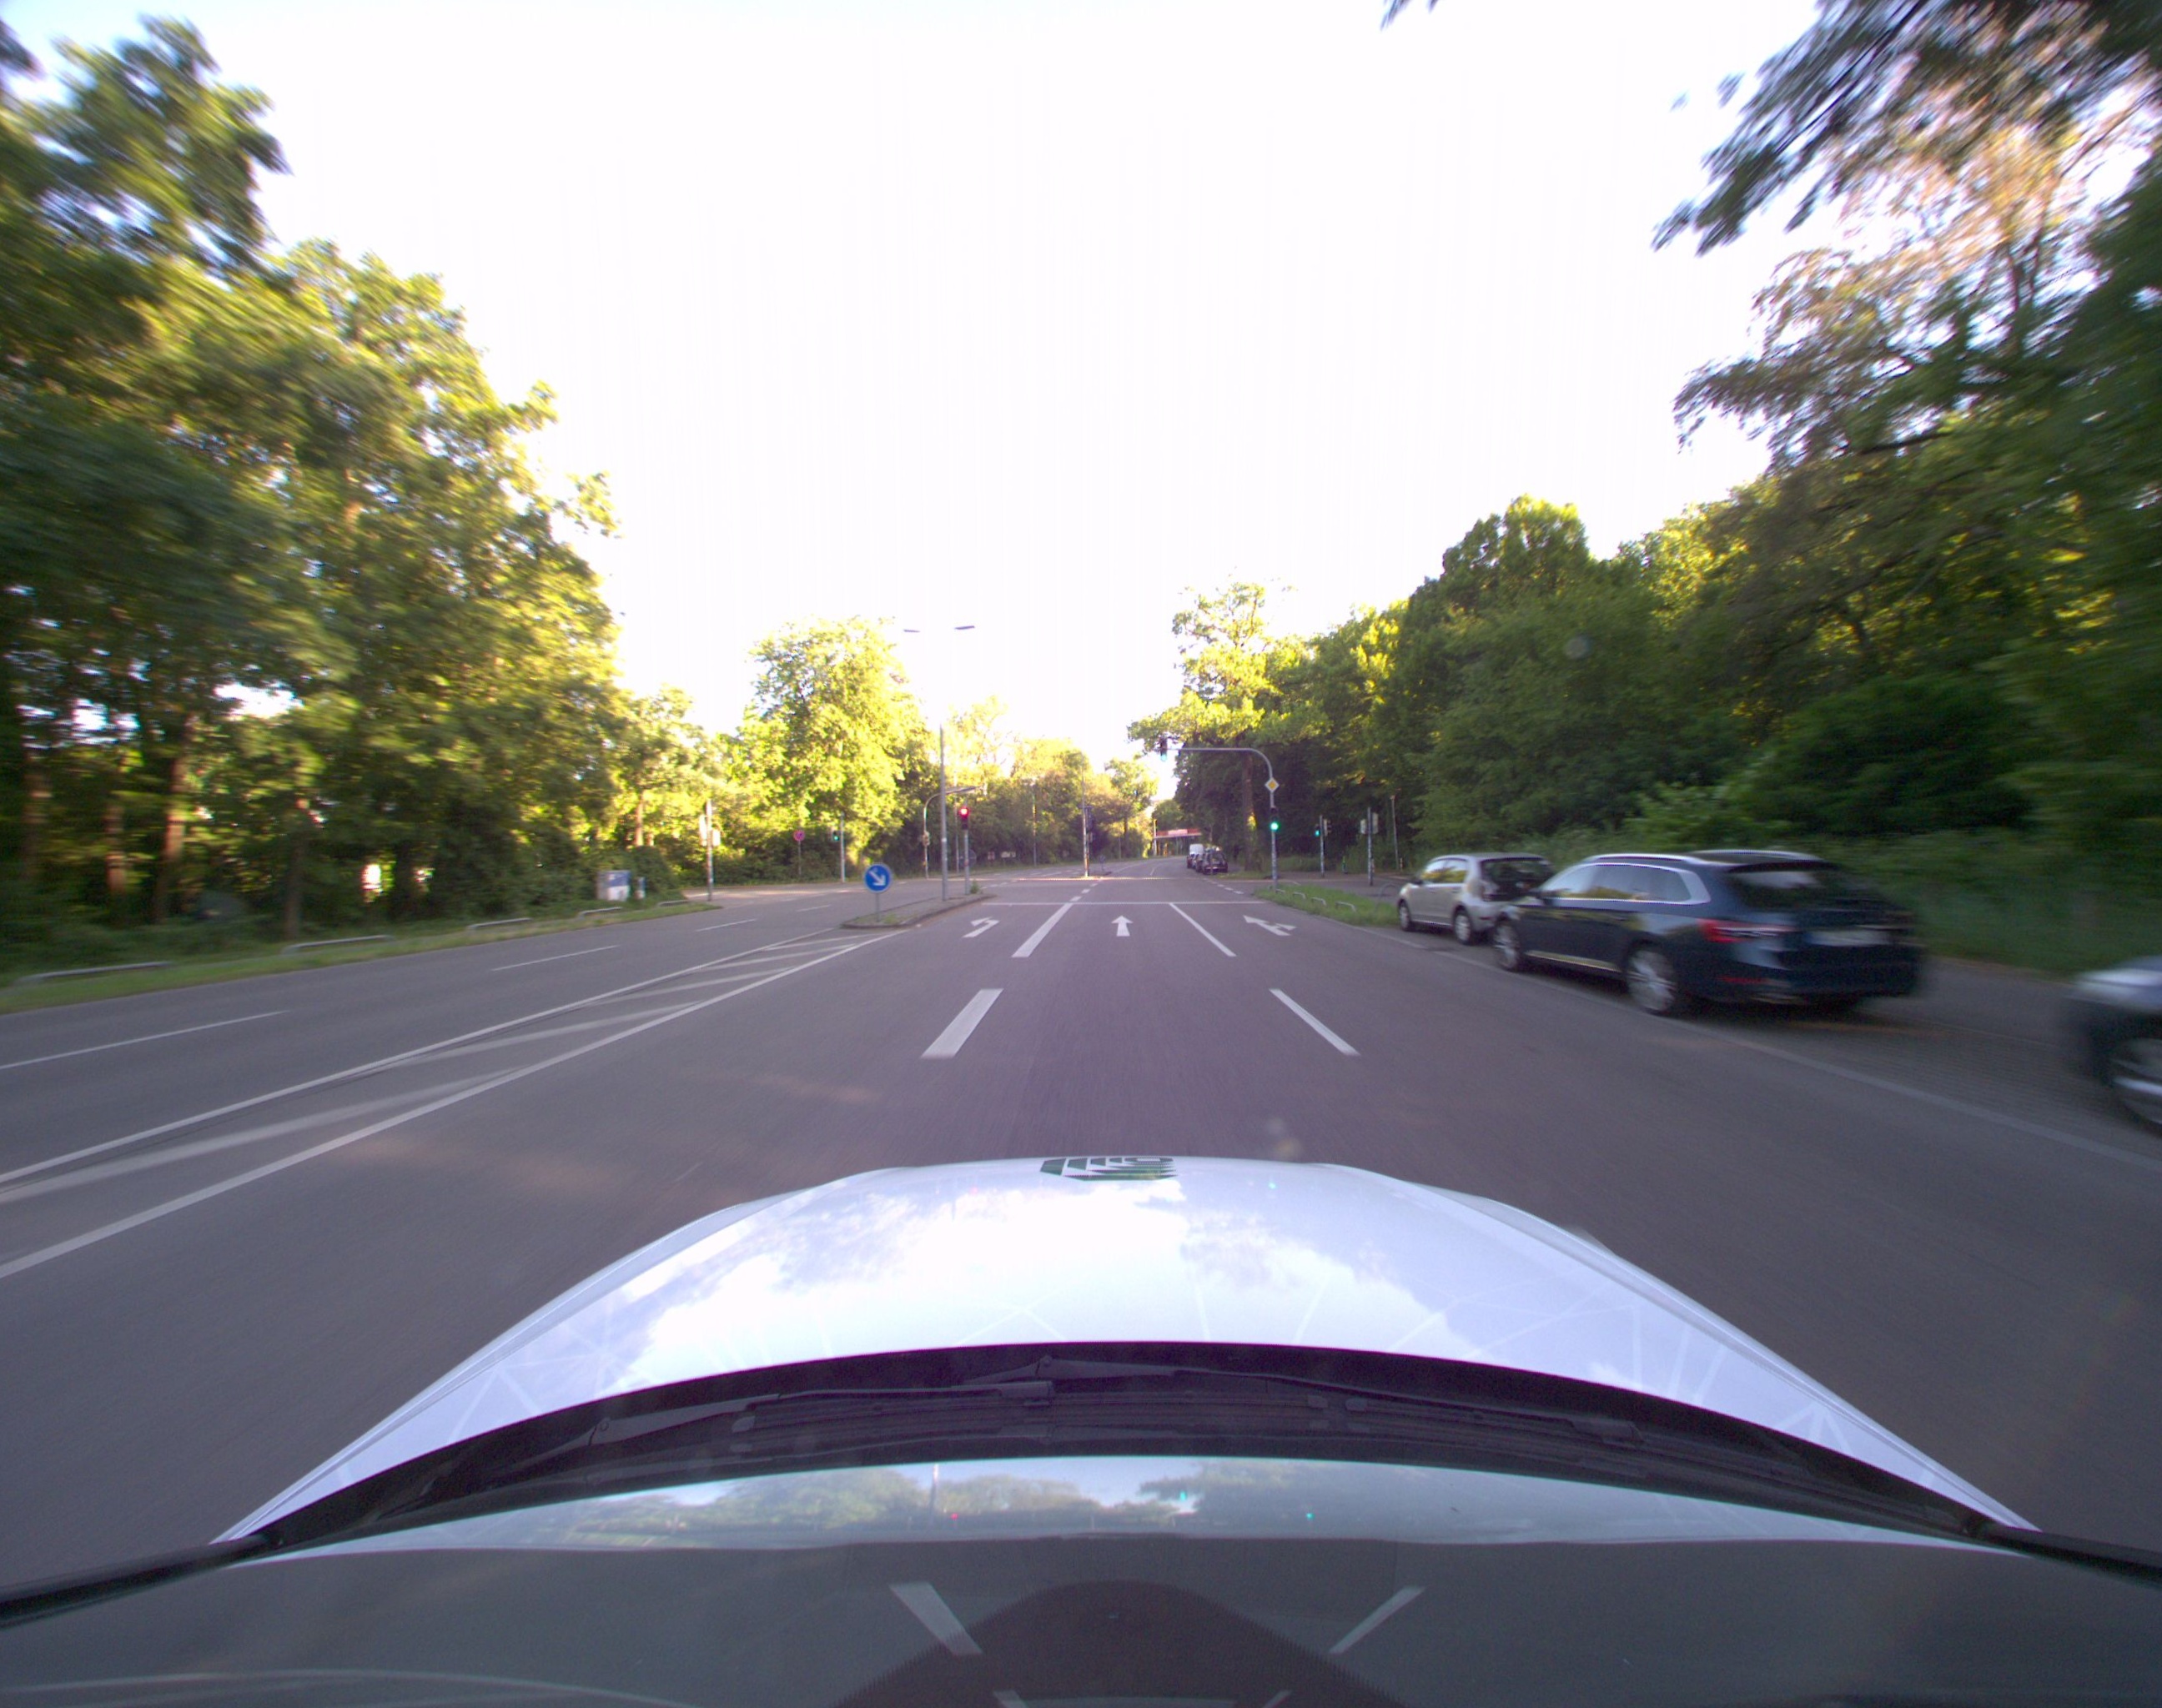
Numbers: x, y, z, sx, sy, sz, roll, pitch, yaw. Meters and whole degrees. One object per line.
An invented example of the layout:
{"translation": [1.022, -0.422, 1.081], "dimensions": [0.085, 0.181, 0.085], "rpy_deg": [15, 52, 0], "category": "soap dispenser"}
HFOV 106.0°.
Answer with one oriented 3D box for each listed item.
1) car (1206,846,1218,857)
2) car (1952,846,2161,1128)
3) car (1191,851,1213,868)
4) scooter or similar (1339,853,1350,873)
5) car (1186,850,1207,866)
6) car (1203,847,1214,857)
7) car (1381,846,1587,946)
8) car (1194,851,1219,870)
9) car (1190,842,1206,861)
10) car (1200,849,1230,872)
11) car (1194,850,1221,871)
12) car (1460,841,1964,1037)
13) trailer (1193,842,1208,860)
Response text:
{"translation": [25.501, -0.528, 158.437], "dimensions": [1.856, 1.981, 5.493], "rpy_deg": [-3, 0, 12], "category": "car"}
{"translation": [6.267, 0.659, 3.015], "dimensions": [1.665, 1.404, 4.234], "rpy_deg": [-2, 0, 3], "category": "car"}
{"translation": [10.799, 0.495, 72.793], "dimensions": [1.709, 1.411, 4.130], "rpy_deg": [-2, 0, 5], "category": "car"}
{"translation": [14.771, 0.497, 45.644], "dimensions": [0.375, 1.144, 1.227], "rpy_deg": [-1, 0, 10], "category": "scooter or similar"}
{"translation": [10.994, 0.368, 77.658], "dimensions": [1.709, 1.411, 4.494], "rpy_deg": [-2, 0, 5], "category": "car"}
{"translation": [22.918, -0.347, 146.008], "dimensions": [1.748, 1.804, 4.752], "rpy_deg": [-3, 0, 11], "category": "car"}
{"translation": [6.946, 0.660, 14.522], "dimensions": [1.712, 1.469, 3.873], "rpy_deg": [-2, 0, 0], "category": "car"}
{"translation": [10.384, 0.497, 67.598], "dimensions": [1.709, 1.469, 4.209], "rpy_deg": [-2, 0, 5], "category": "car"}
{"translation": [15.987, -0.335, 111.320], "dimensions": [1.892, 2.423, 5.592], "rpy_deg": [-3, 0, 10], "category": "car"}
{"translation": [9.119, 0.458, 55.644], "dimensions": [1.709, 1.469, 3.762], "rpy_deg": [-2, 0, 6], "category": "car"}
{"translation": [9.605, 0.450, 62.064], "dimensions": [1.709, 1.469, 4.995], "rpy_deg": [-2, 0, 5], "category": "car"}
{"translation": [6.131, 0.681, 8.954], "dimensions": [1.754, 1.469, 5.121], "rpy_deg": [-2, 0, 3], "category": "car"}
{"translation": [17.298, -0.386, 117.854], "dimensions": [1.892, 2.423, 5.141], "rpy_deg": [-3, 0, 10], "category": "trailer"}
